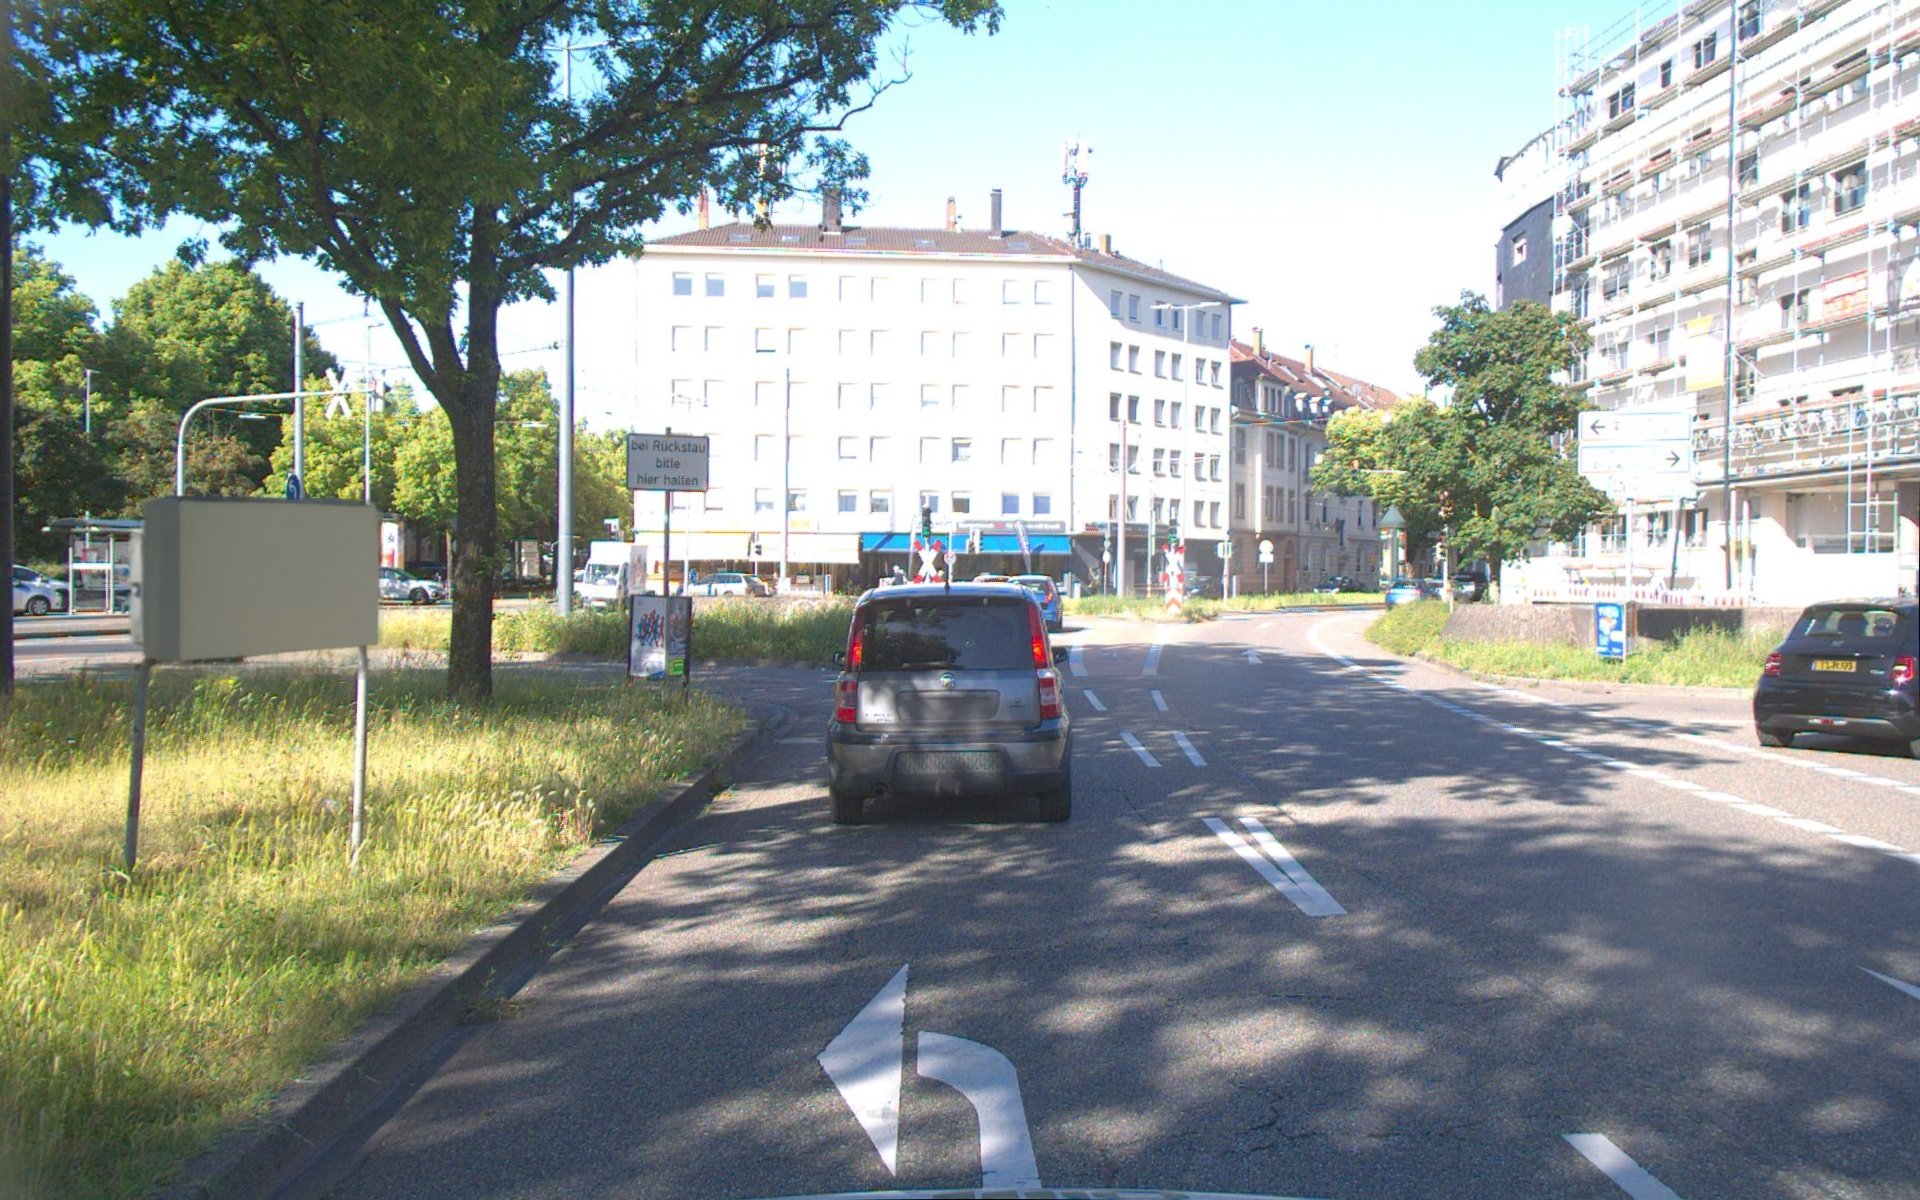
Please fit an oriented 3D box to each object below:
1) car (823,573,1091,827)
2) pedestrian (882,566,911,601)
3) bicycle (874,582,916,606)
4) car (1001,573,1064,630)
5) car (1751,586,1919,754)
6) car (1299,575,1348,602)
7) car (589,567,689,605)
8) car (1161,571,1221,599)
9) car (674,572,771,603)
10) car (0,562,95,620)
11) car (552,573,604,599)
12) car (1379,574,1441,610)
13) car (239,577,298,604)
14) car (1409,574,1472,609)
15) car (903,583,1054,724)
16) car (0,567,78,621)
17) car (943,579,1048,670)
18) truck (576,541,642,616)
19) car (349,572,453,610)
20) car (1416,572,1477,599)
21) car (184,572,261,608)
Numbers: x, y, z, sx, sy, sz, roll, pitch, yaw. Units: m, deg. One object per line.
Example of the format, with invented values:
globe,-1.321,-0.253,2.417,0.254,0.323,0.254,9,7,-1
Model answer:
car,-0.023,0.586,11.712,1.626,1.536,3.251,0,1,0
pedestrian,-2.725,-0.698,70.900,0.770,1.452,0.923,2,0,-44
bicycle,-2.785,-0.250,70.937,0.779,0.968,1.826,2,0,-44
car,1.952,0.022,44.675,1.611,1.463,3.397,0,1,2
car,9.176,0.633,17.068,1.640,1.529,3.561,1,1,23
car,22.127,-0.711,100.594,1.758,1.593,3.756,1,1,33
car,-13.012,-0.580,66.904,4.321,1.474,1.659,1,1,41
car,12.177,-0.805,87.130,1.758,1.420,3.714,1,1,33
car,-10.555,-0.567,73.442,3.918,1.264,1.994,2,1,34
car,-30.728,-0.309,54.195,1.724,1.747,3.998,4,3,25
car,-20.380,-0.751,88.436,1.953,1.333,3.999,0,1,-2
car,19.604,-0.361,71.978,1.742,1.467,3.611,2,2,30
car,-35.851,-0.513,85.851,1.562,1.316,3.702,0,1,-2
car,22.162,-0.426,76.192,1.786,1.534,3.991,1,1,31
car,0.177,0.549,19.358,1.588,1.454,3.688,0,1,-1
car,-29.959,-0.206,51.006,1.839,1.570,4.523,5,3,41
car,0.711,0.384,29.999,1.723,1.512,4.296,0,1,4
truck,-11.914,-0.734,56.354,1.753,2.469,4.105,1,1,-6
car,-23.941,-0.379,70.997,3.912,1.599,1.996,0,1,-8
car,30.285,-0.896,102.974,1.872,1.621,3.985,0,1,-14
car,-35.774,-0.515,80.334,1.724,1.645,4.227,1,1,1
